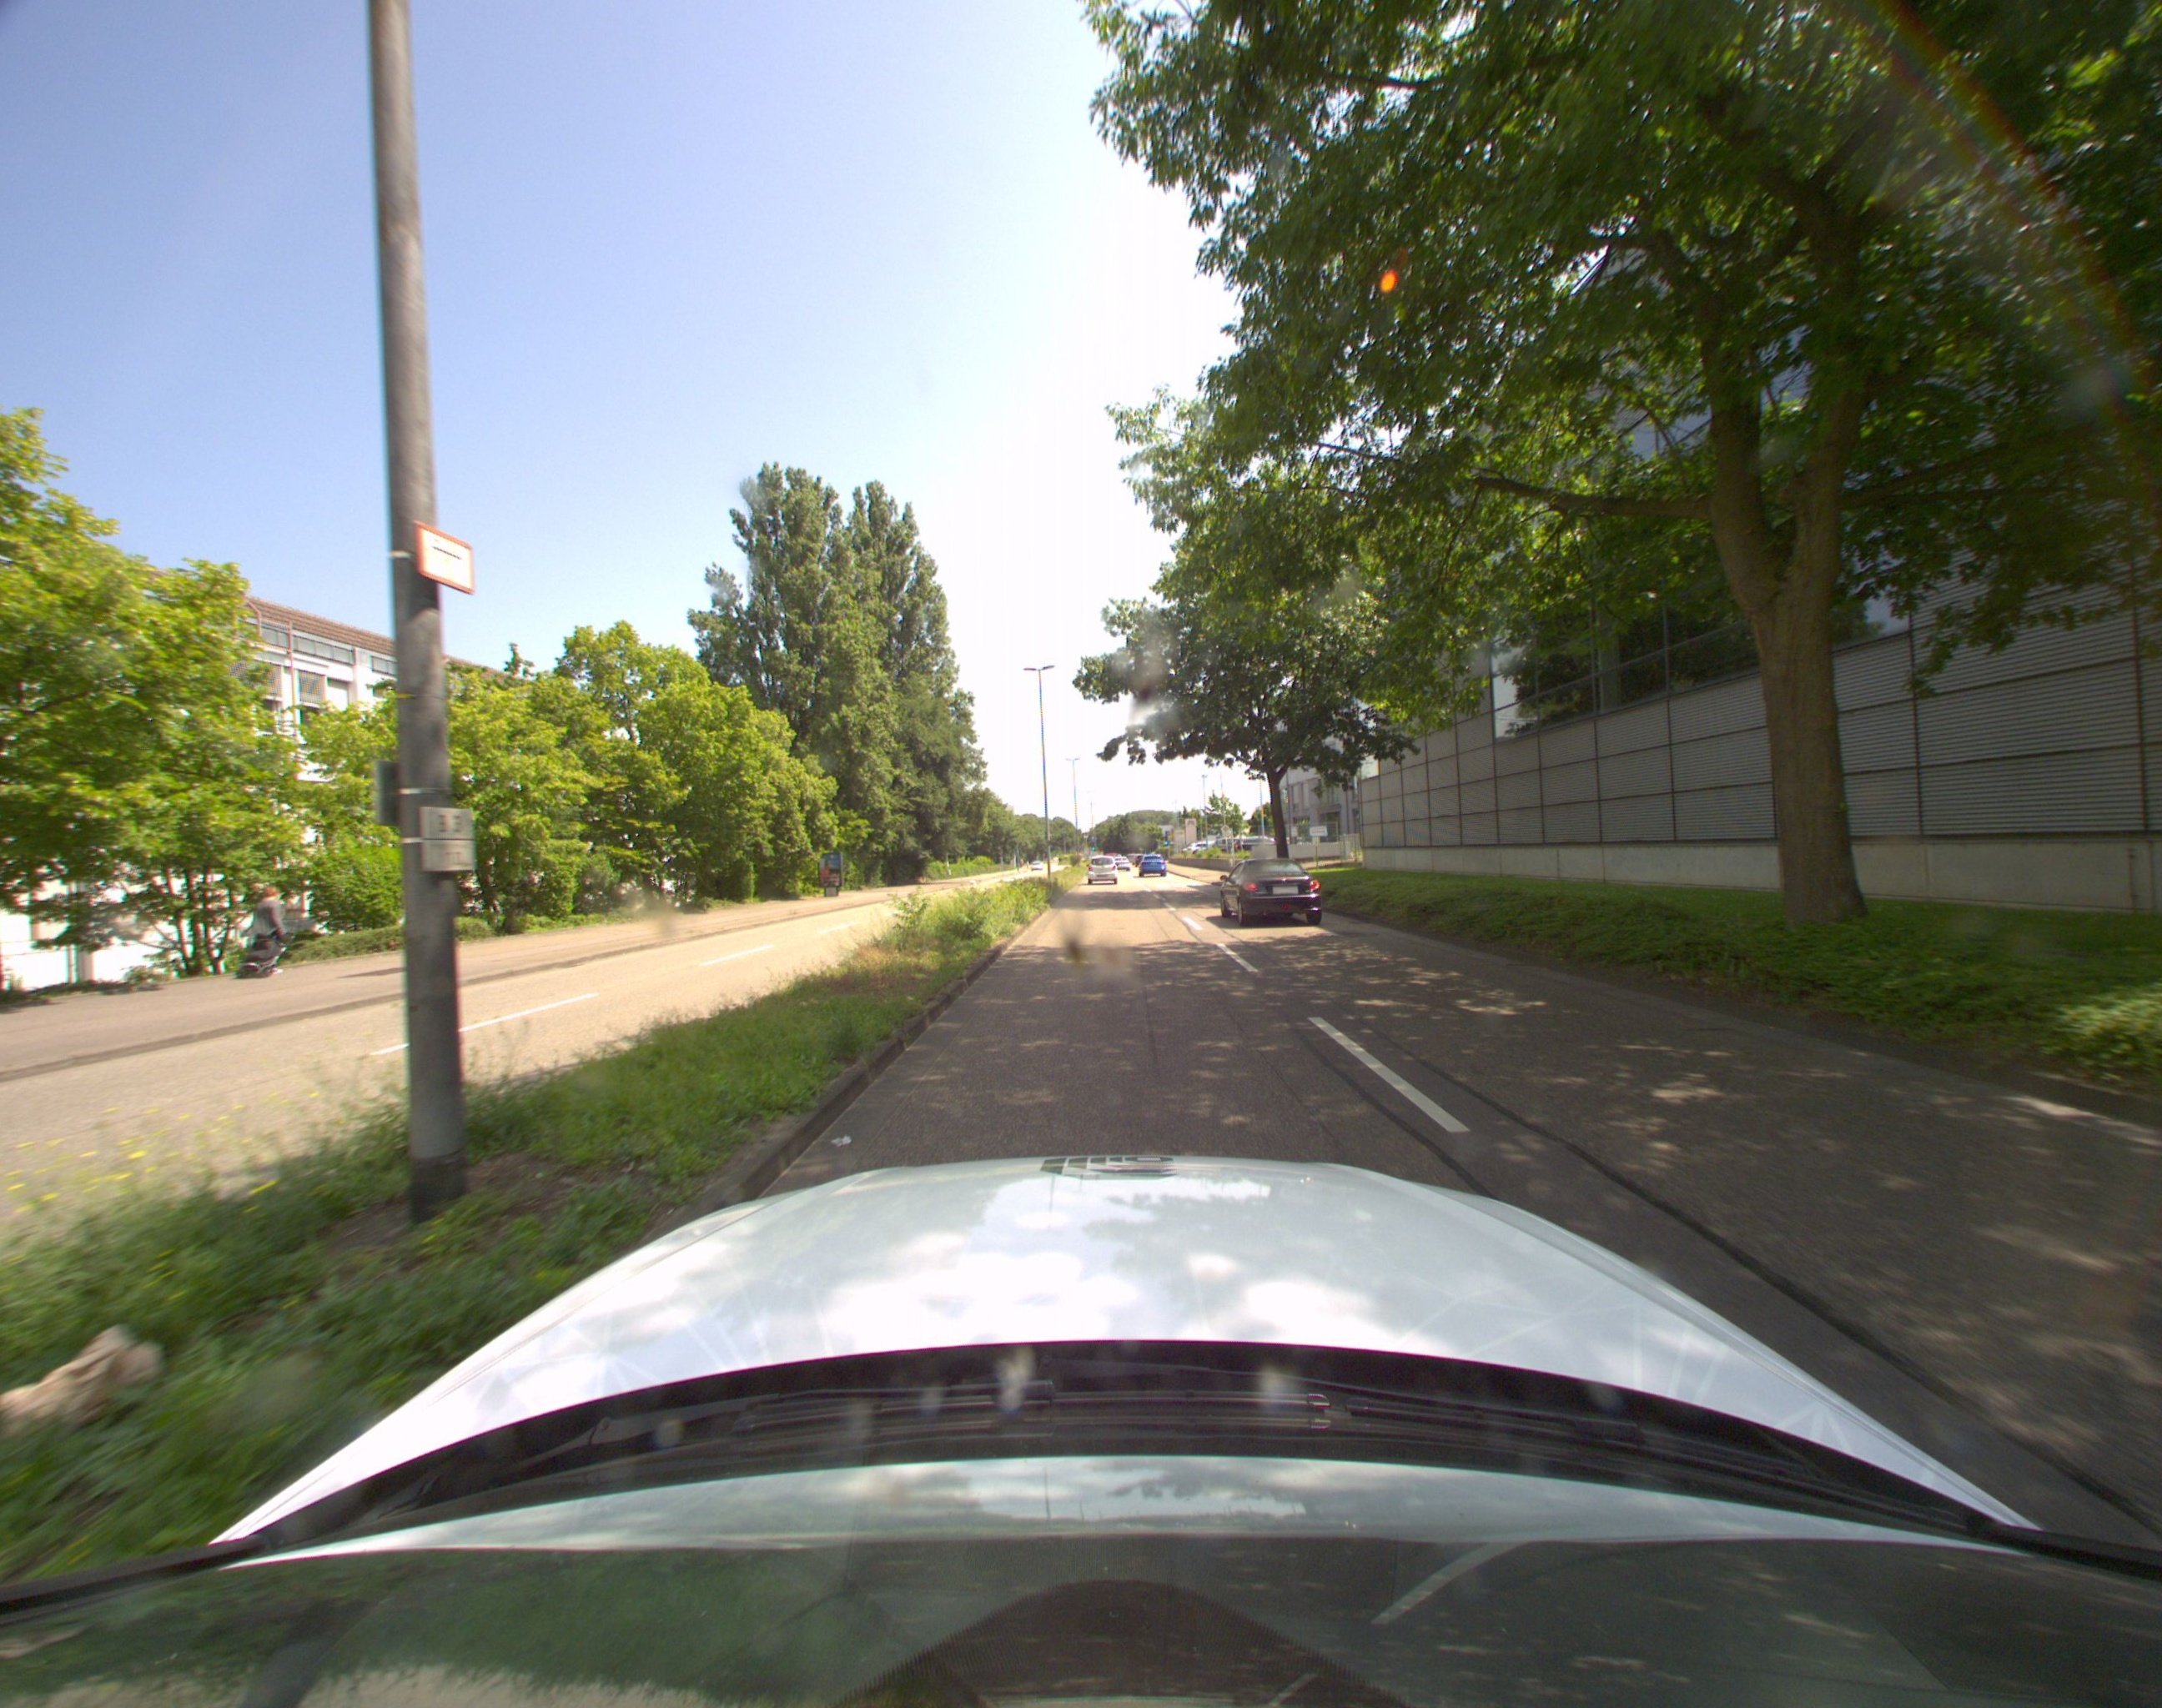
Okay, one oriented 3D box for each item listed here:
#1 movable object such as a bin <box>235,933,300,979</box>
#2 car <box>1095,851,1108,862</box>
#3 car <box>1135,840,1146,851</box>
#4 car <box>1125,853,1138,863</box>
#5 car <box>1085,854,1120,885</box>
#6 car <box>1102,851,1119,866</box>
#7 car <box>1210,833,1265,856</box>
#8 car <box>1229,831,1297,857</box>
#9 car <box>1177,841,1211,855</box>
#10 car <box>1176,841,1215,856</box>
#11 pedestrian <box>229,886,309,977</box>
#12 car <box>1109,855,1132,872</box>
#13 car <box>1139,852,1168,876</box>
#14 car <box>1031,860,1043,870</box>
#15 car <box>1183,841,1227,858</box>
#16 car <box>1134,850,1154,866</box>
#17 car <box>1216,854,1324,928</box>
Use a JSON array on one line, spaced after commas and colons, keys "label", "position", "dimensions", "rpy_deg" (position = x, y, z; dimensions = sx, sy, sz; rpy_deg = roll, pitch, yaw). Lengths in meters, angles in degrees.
[{"label": "movable object such as a bin", "position": [-14.321, 1.789, 14.346], "dimensions": [0.425, 0.705, 0.654], "rpy_deg": [-4, 0, 10]}, {"label": "car", "position": [3.264, 0.411, 131.713], "dimensions": [1.815, 1.661, 3.997], "rpy_deg": [-3, 1, -3]}, {"label": "car", "position": [12.451, -1.756, 170.816], "dimensions": [1.765, 2.013, 3.988], "rpy_deg": [-4, 0, -2]}, {"label": "car", "position": [8.742, 0.717, 140.862], "dimensions": [1.986, 1.508, 4.001], "rpy_deg": [-4, 0, 1]}, {"label": "car", "position": [1.221, 0.812, 44.932], "dimensions": [1.741, 1.520, 3.749], "rpy_deg": [-2, 1, 3]}, {"label": "car", "position": [3.676, 0.570, 101.264], "dimensions": [1.771, 1.740, 3.997], "rpy_deg": [-3, 0, -2]}, {"label": "car", "position": [13.255, -0.816, 69.124], "dimensions": [4.212, 1.647, 2.000], "rpy_deg": [-4, 0, 0]}, {"label": "car", "position": [13.450, -0.740, 60.381], "dimensions": [4.484, 1.583, 2.000], "rpy_deg": [-4, 0, 0]}, {"label": "car", "position": [14.204, -0.744, 102.364], "dimensions": [3.975, 1.544, 1.999], "rpy_deg": [-4, 0, -1]}, {"label": "car", "position": [13.995, -0.681, 99.523], "dimensions": [4.333, 1.544, 1.999], "rpy_deg": [-4, 0, -1]}, {"label": "pedestrian", "position": [-14.729, 1.385, 14.790], "dimensions": [0.630, 1.545, 0.727], "rpy_deg": [-4, 0, 1]}, {"label": "car", "position": [3.824, 0.920, 79.079], "dimensions": [1.986, 1.442, 4.001], "rpy_deg": [-3, 0, 1]}, {"label": "car", "position": [5.164, 0.687, 58.311], "dimensions": [1.820, 1.580, 3.608], "rpy_deg": [-3, 1, 3]}, {"label": "car", "position": [-7.160, 1.786, 132.729], "dimensions": [1.730, 1.413, 4.371], "rpy_deg": [-3, 0, 0]}, {"label": "car", "position": [13.848, -0.489, 91.039], "dimensions": [4.519, 1.544, 2.000], "rpy_deg": [-4, 0, 1]}, {"label": "car", "position": [7.294, 0.432, 94.545], "dimensions": [1.986, 1.640, 4.001], "rpy_deg": [-4, 0, 1]}, {"label": "car", "position": [4.000, 0.723, 17.770], "dimensions": [1.621, 1.364, 3.608], "rpy_deg": [-1, 1, 2]}]
